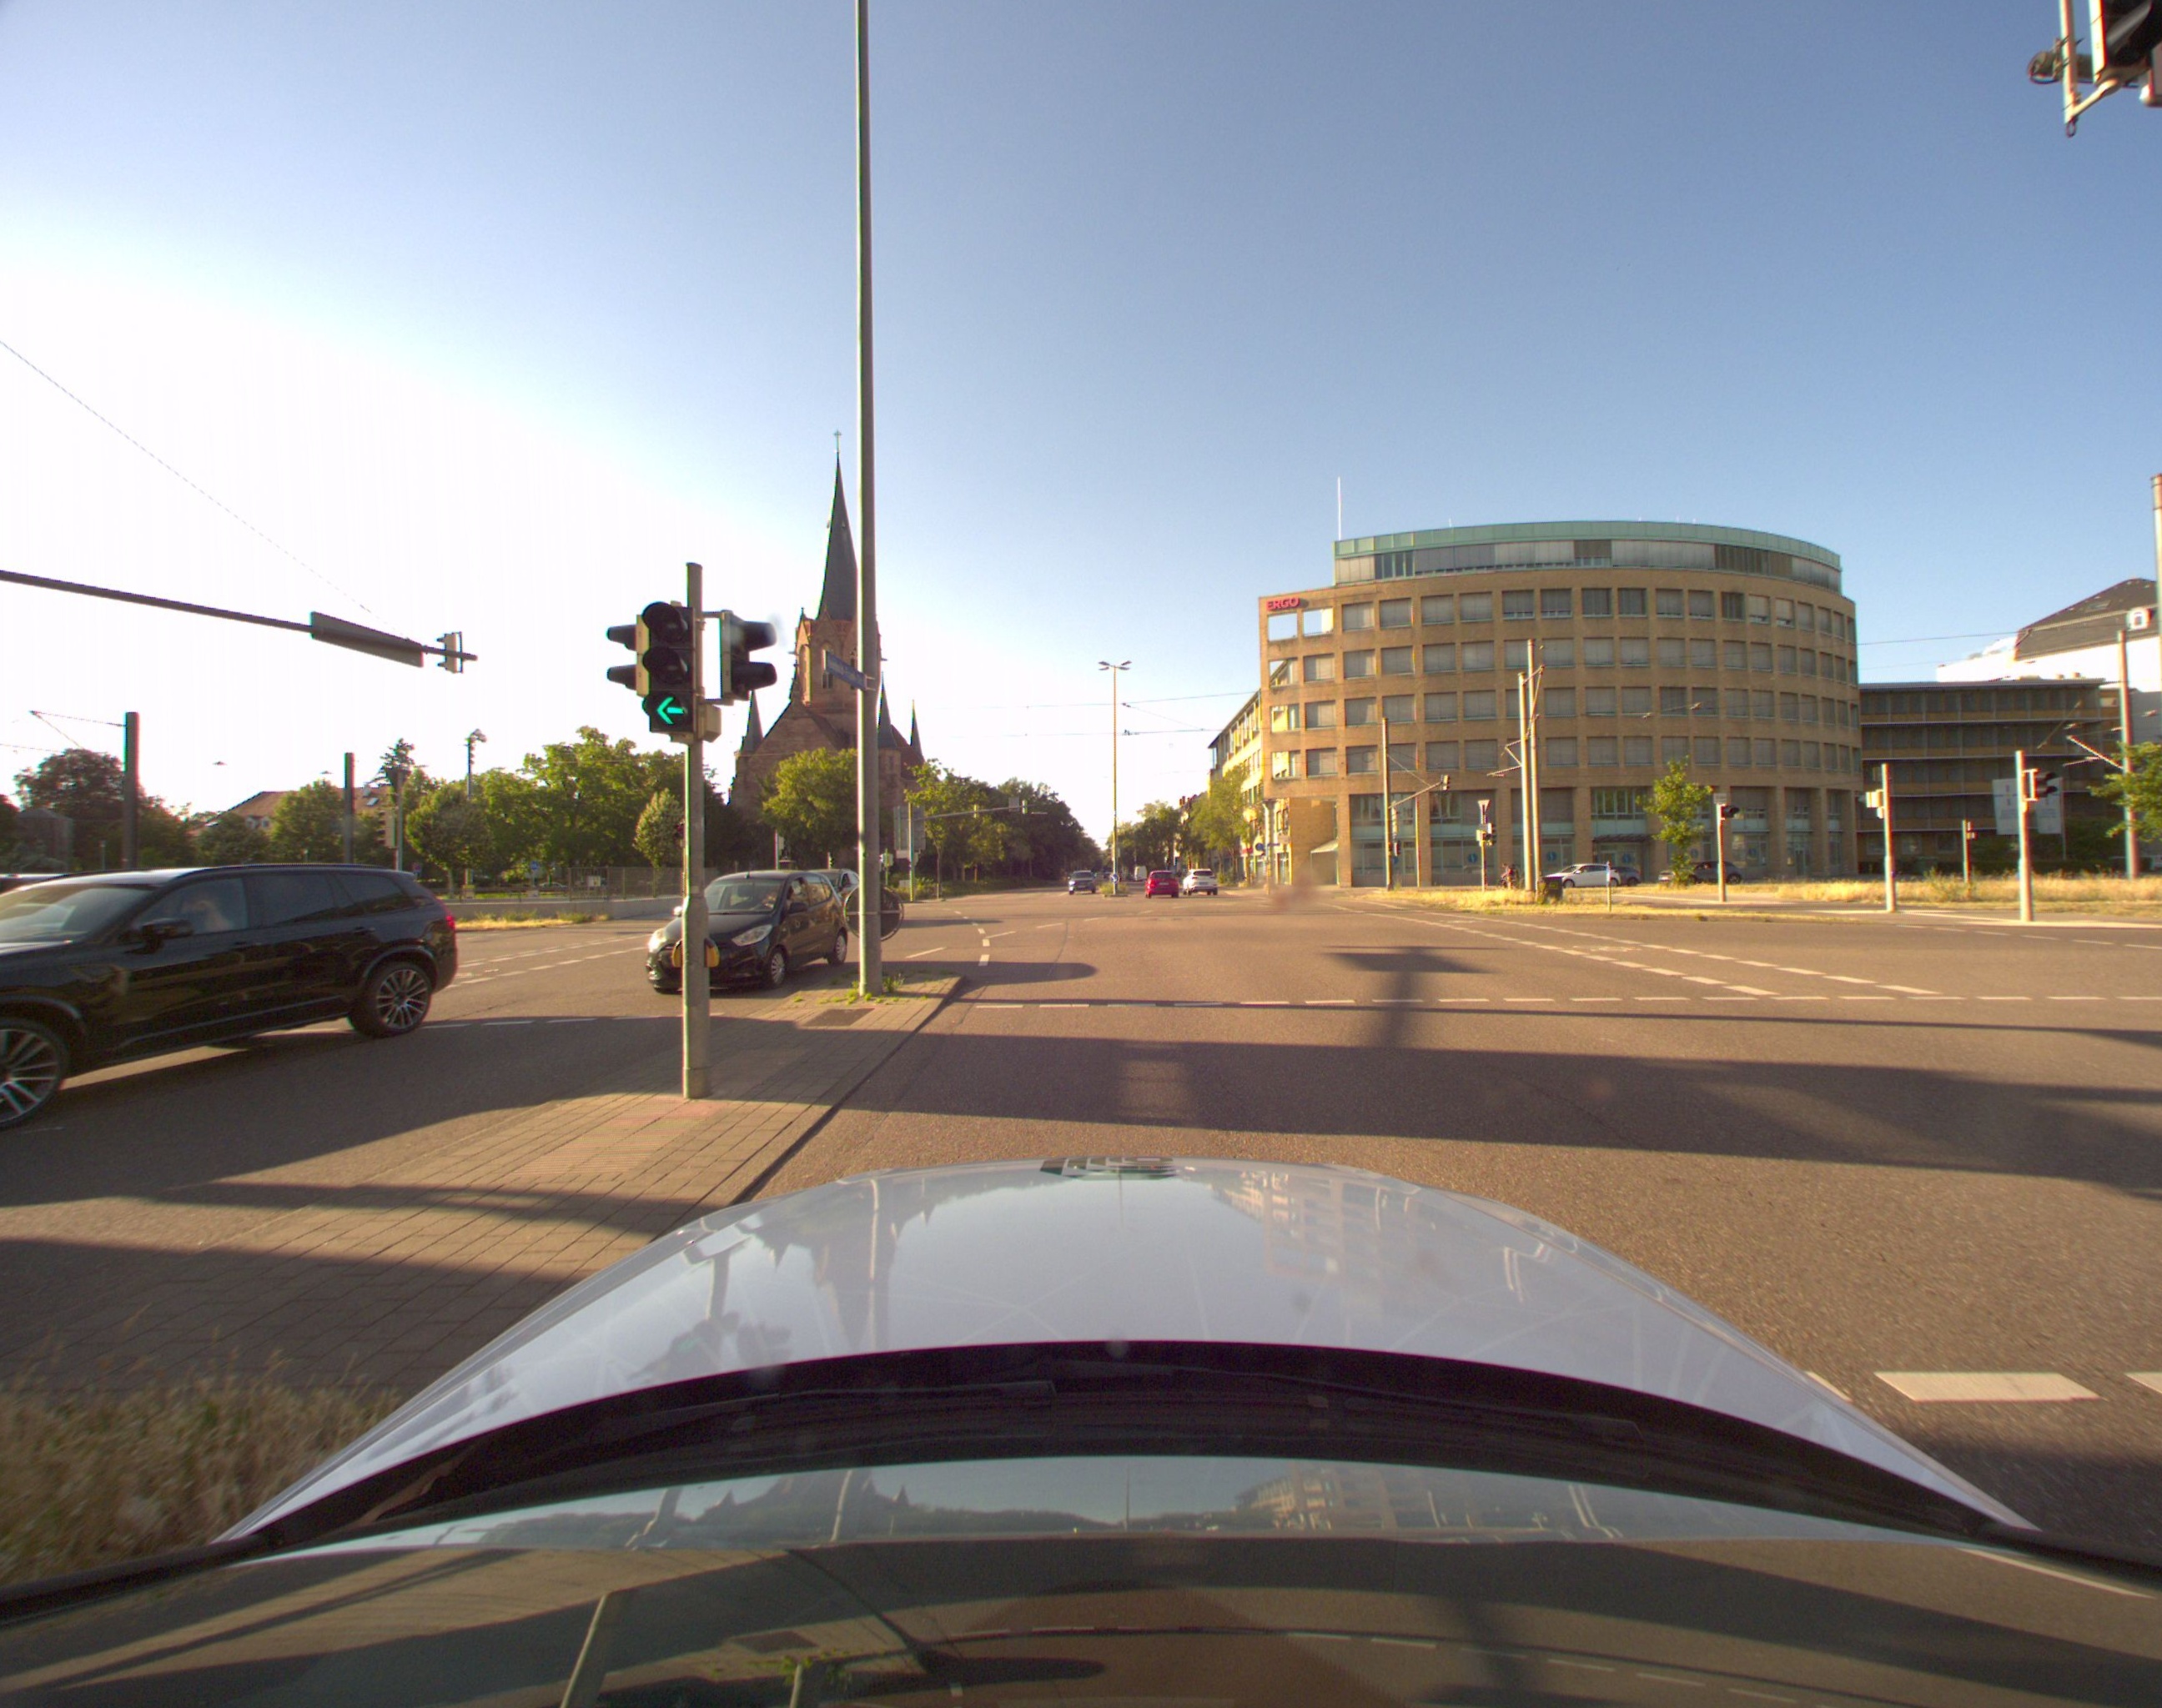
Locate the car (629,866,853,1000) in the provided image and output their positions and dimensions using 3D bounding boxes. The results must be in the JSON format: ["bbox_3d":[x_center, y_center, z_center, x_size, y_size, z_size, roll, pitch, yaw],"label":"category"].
[{"bbox_3d":[-4.611,0.985,11.616,1.572,1.544,3.479,-3,-1,2],"label":"car"}]

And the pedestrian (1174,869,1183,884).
[{"bbox_3d":[13.332,3.055,111.446,1.103,1.976,1.162,-1,-2,2],"label":"pedestrian"}]

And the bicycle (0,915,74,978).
[{"bbox_3d":[-20.735,1.781,15.570,1.770,1.097,0.952,-2,0,2],"label":"bicycle"}]

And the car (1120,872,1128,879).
[{"bbox_3d":[8.439,4.302,161.296,1.588,1.267,3.268,-1,-1,2],"label":"car"}]

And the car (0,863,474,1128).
[{"bbox_3d":[-7.872,0.974,6.810,1.809,1.711,4.788,-3,-1,2],"label":"car"}]

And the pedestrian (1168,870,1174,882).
[{"bbox_3d":[13.938,3.446,126.307,0.844,1.803,0.776,-1,-1,2],"label":"pedestrian"}]

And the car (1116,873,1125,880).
[{"bbox_3d":[7.171,4.113,149.443,1.588,1.267,3.268,-1,-1,2],"label":"car"}]

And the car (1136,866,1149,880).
[{"bbox_3d":[10.600,3.240,140.352,1.985,2.441,4.002,0,-1,2],"label":"car"}]

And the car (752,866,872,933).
[{"bbox_3d":[-7.270,1.163,22.472,1.788,1.565,4.149,-2,0,2],"label":"car"}]

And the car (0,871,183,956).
[{"bbox_3d":[-26.588,1.503,20.832,4.907,2.014,1.999,-1,-1,-1],"label":"car"}]

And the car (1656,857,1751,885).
[{"bbox_3d":[35.627,1.003,46.668,4.037,1.492,1.820,-1,-2,1],"label":"car"}]

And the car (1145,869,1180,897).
[{"bbox_3d":[4.452,1.546,44.881,1.663,1.462,4.002,0,-1,2],"label":"car"}]

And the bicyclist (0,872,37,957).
[{"bbox_3d":[-20.980,1.175,15.579,0.733,1.598,0.963,-2,-1,2],"label":"bicyclist"}]

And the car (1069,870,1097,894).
[{"bbox_3d":[0.187,2.140,61.951,1.986,1.724,5.032,-1,-2,2],"label":"car"}]

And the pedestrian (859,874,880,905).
[{"bbox_3d":[-12.364,2.078,47.642,0.961,1.739,0.813,-1,-2,3],"label":"pedestrian"}]

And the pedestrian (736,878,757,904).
[{"bbox_3d":[-22.803,2.506,55.509,1.004,1.696,0.849,-1,-2,26],"label":"pedestrian"}]

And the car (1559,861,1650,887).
[{"bbox_3d":[33.209,1.285,51.775,4.463,1.537,1.987,-1,-2,2],"label":"car"}]

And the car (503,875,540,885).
[{"bbox_3d":[-90.476,4.162,131.790,4.449,1.572,1.993,-1,-1,-10],"label":"car"}]

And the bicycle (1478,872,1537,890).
[{"bbox_3d":[25.840,1.608,49.340,2.950,1.000,1.154,-1,-1,0],"label":"bicycle"}]

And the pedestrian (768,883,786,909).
[{"bbox_3d":[-20.240,2.782,54.250,0.884,1.696,0.715,-1,-2,38],"label":"pedestrian"}]

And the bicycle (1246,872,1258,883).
[{"bbox_3d":[15.911,2.198,75.776,0.644,0.995,2.081,-1,-1,2],"label":"bicycle"}]

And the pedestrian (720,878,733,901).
[{"bbox_3d":[-26.628,2.675,61.117,0.845,1.696,1.009,1,-2,-22],"label":"pedestrian"}]

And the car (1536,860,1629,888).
[{"bbox_3d":[28.750,1.133,46.776,4.149,1.492,1.994,-1,-2,0],"label":"car"}]

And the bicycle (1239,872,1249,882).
[{"bbox_3d":[16.069,2.294,80.440,0.644,0.995,2.081,-1,-1,2],"label":"bicycle"}]

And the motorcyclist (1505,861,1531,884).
[{"bbox_3d":[27.790,1.152,51.816,1.061,1.435,1.032,-1,-2,1],"label":"motorcyclist"}]

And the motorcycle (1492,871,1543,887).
[{"bbox_3d":[27.762,1.612,51.803,2.708,0.964,1.032,-1,-2,1],"label":"motorcycle"}]

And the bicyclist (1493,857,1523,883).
[{"bbox_3d":[25.874,0.967,49.370,1.219,1.572,1.154,-1,-1,0],"label":"bicyclist"}]

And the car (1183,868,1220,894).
[{"bbox_3d":[7.661,1.694,52.170,1.909,1.607,4.271,0,-1,2],"label":"car"}]

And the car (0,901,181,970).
[{"bbox_3d":[-22.482,1.746,17.513,4.174,1.313,1.801,-1,-1,-1],"label":"car"}]

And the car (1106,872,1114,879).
[{"bbox_3d":[6.207,4.628,175.758,1.588,1.267,3.268,-1,-1,2],"label":"car"}]

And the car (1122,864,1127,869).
[{"bbox_3d":[13.357,3.871,251.292,1.588,1.267,3.268,-1,-1,2],"label":"car"}]

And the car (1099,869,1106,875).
[{"bbox_3d":[6.548,5.502,247.084,1.879,1.671,4.002,0,-1,2],"label":"car"}]
